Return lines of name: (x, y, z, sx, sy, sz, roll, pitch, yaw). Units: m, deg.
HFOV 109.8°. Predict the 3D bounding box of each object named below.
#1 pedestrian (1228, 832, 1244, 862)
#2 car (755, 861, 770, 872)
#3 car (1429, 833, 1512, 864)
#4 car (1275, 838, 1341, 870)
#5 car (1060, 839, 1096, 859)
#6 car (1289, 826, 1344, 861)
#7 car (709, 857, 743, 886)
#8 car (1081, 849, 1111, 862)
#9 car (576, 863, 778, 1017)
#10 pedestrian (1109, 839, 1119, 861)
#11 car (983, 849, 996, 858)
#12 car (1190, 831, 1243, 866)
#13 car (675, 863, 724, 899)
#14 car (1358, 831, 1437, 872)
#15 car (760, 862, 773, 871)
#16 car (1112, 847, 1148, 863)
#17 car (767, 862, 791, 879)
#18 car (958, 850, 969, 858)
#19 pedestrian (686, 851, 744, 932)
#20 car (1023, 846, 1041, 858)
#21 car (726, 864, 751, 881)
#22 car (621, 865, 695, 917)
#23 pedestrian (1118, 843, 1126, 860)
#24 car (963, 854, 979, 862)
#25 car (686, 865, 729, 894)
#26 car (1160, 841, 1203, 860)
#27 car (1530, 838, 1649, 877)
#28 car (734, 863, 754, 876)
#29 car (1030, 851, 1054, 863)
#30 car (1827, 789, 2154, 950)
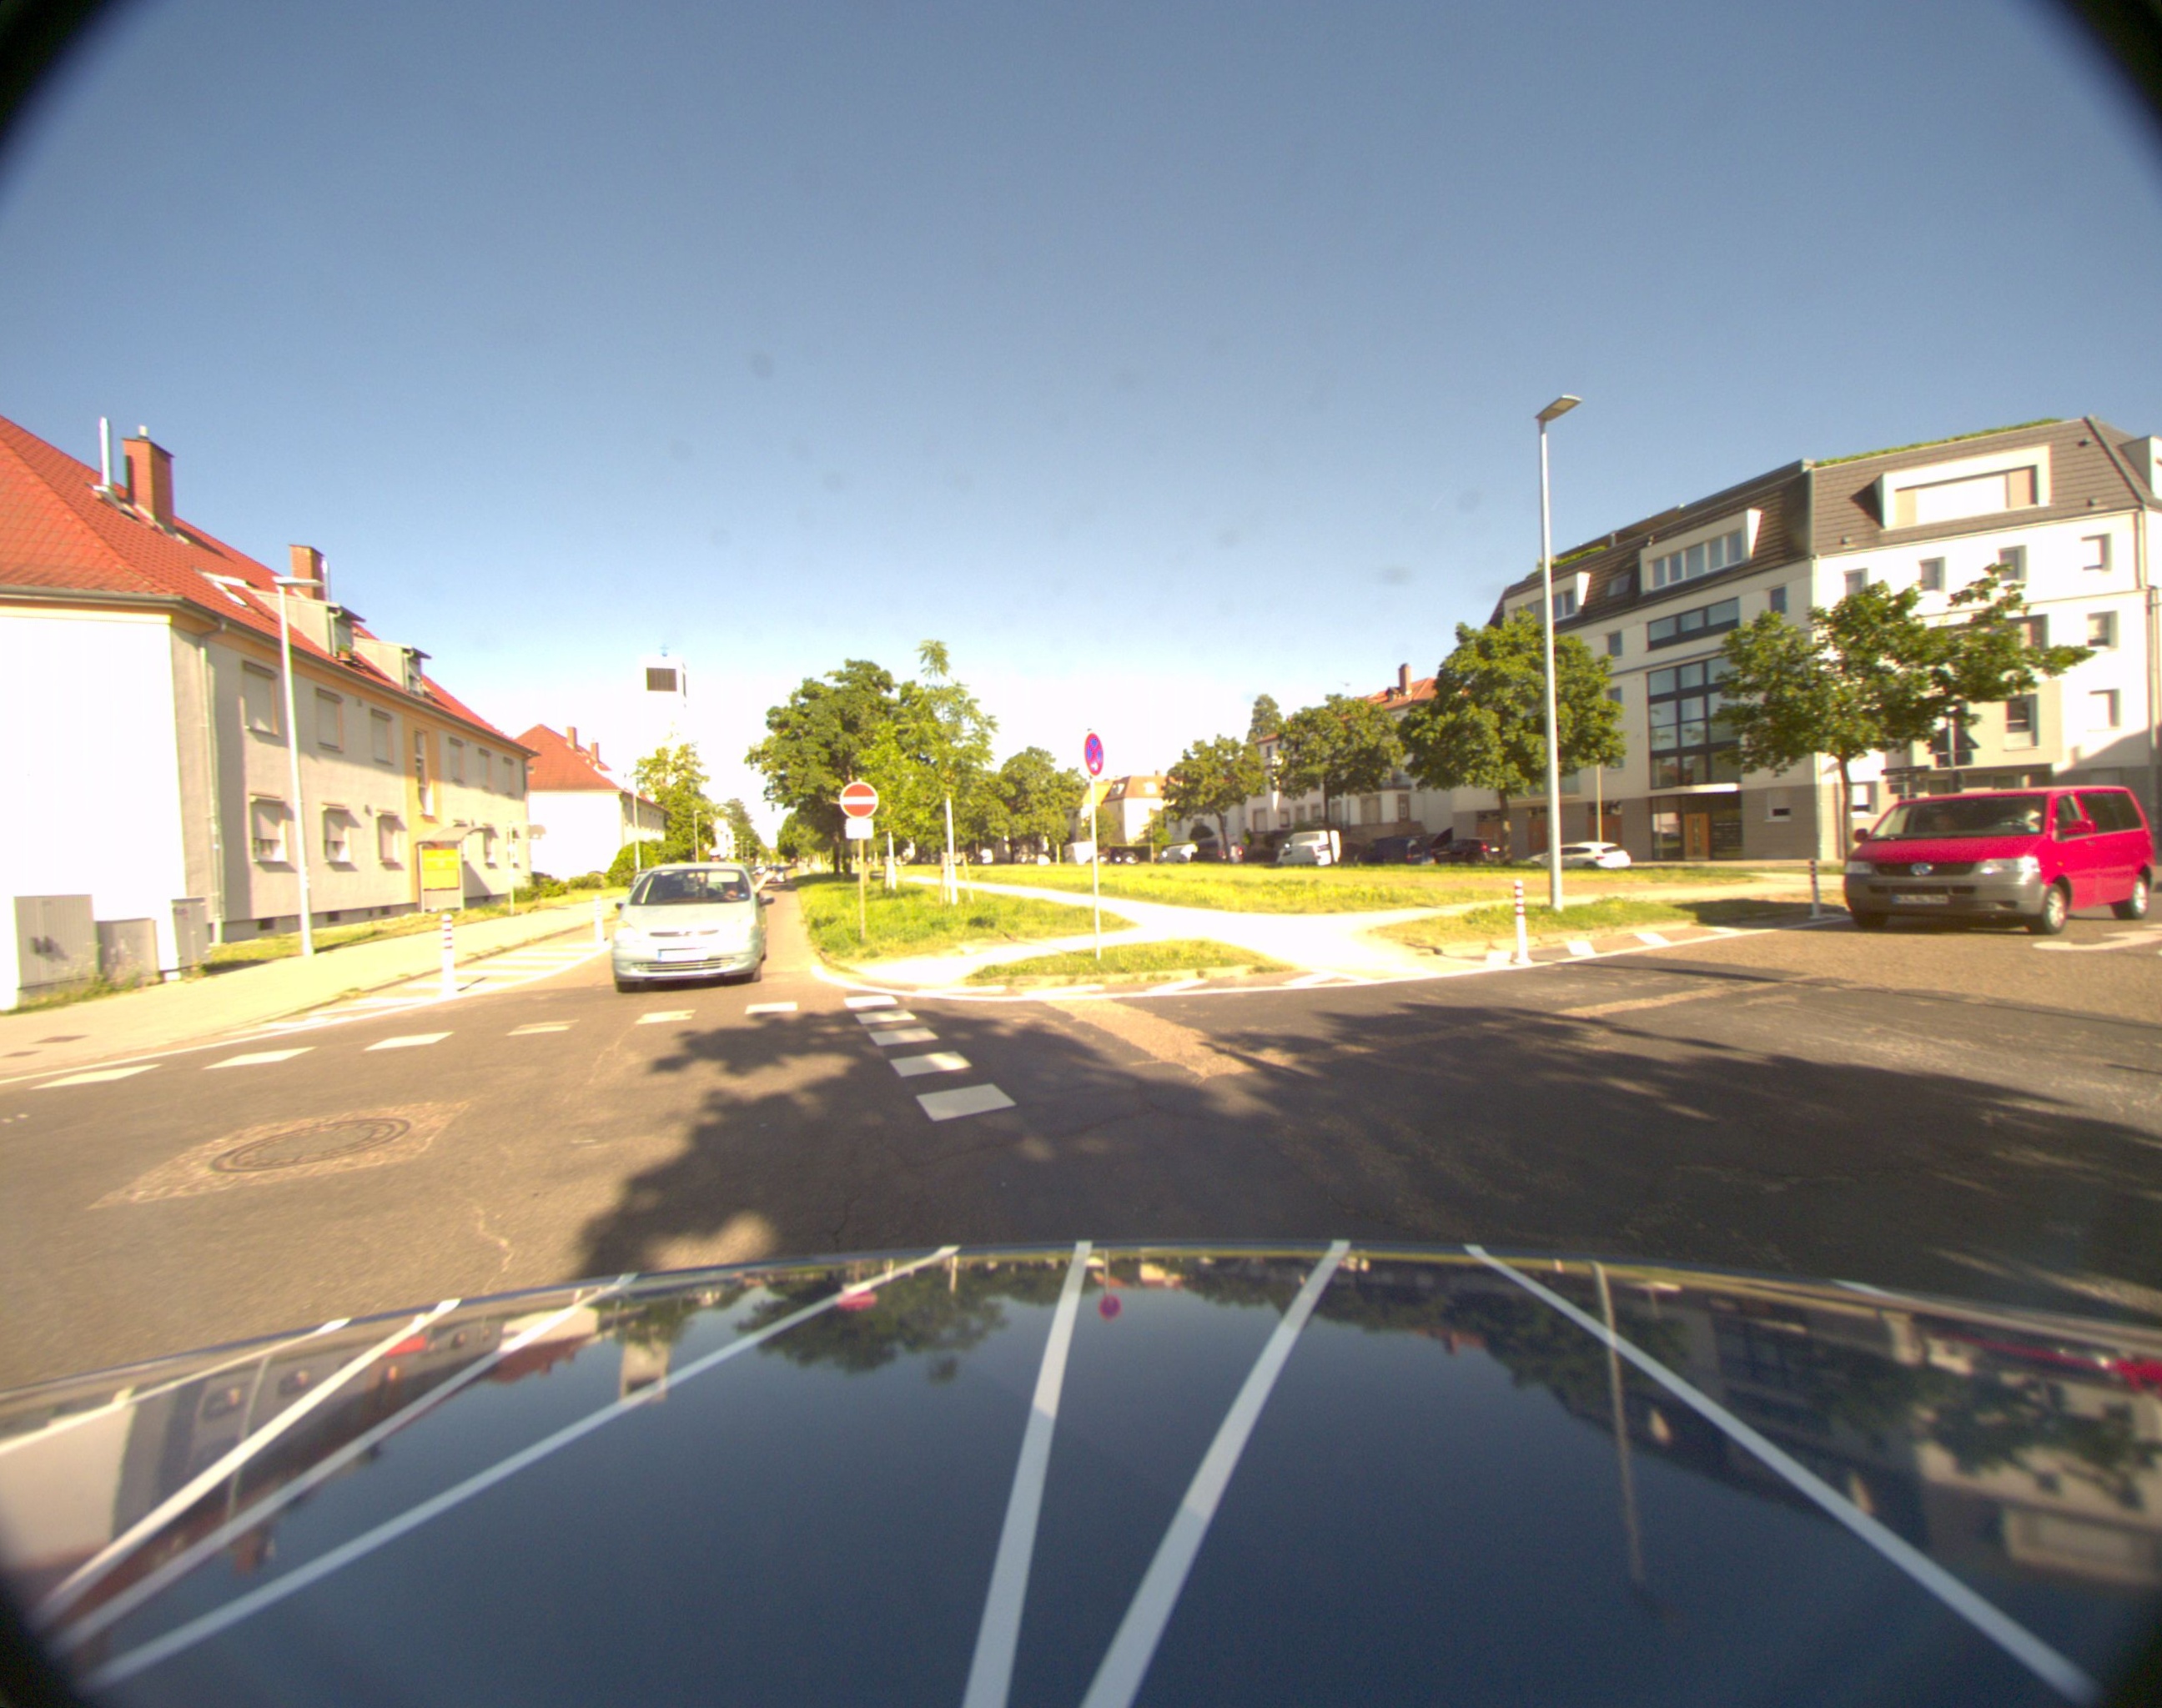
pedestrian: (9.965, -0.449, 48.983, 0.725, 1.866, 0.628, -2, 1, -22)
car: (-43.363, 1.712, 103.553, 1.723, 1.334, 3.802, -2, 1, -20)
car: (23.533, -0.326, 46.101, 1.898, 1.673, 4.281, -4, 1, -20)
car: (15.227, -0.016, 51.236, 1.877, 1.873, 4.416, -7, 2, -20)
car: (-0.443, -0.569, 92.080, 2.553, 2.320, 5.909, -2, 1, -20)
car: (18.453, -0.789, 59.631, 2.025, 2.534, 3.987, -4, 1, -20)
car: (-26.322, 1.239, 56.466, 1.873, 2.002, 4.248, -2, 1, -21)
car: (1.661, 0.191, 85.774, 1.936, 1.337, 4.103, -2, 1, -20)
car: (-5.390, 0.978, 10.721, 1.890, 1.599, 4.240, -2, 1, -20)
pedestrian: (2.931, -0.357, 67.974, 0.645, 1.866, 0.628, -2, 1, -22)
car: (-19.406, -0.092, 160.458, 1.867, 1.834, 3.987, -2, 1, -20)
car: (11.016, -0.444, 62.041, 2.194, 2.570, 4.281, -7, 2, -19)
car: (-19.132, 1.311, 38.254, 1.723, 1.574, 4.133, -2, 1, -20)
car: (18.018, -0.143, 43.458, 1.785, 2.072, 3.987, -7, 2, -20)
car: (-51.550, 2.077, 124.486, 1.723, 1.334, 3.802, -2, 1, -20)
car: (5.051, 0.076, 79.007, 2.087, 1.589, 4.281, -2, 1, -20)
car: (-25.292, 1.364, 63.725, 1.723, 1.334, 3.802, -2, 1, -20)
car: (-28.952, 0.080, 186.716, 1.867, 1.834, 3.987, -2, 1, -20)
pedestrian: (-8.027, 0.794, 16.707, 1.055, 1.699, 0.691, -2, 1, -25)
car: (-8.471, -0.328, 130.876, 1.867, 1.835, 3.987, -2, 1, -20)
car: (-30.133, 1.593, 66.962, 1.723, 1.334, 3.802, -2, 1, -20)
car: (-15.515, 1.300, 28.050, 1.723, 1.654, 4.057, -2, 1, -20)
pedestrian: (3.652, -0.235, 67.925, 0.497, 1.496, 0.534, -2, 1, -21)
car: (-21.593, 0.798, 149.050, 2.083, 1.457, 4.719, -2, 1, -20)
car: (-21.326, 1.410, 43.529, 1.723, 1.433, 4.133, -2, 1, -20)
car: (8.974, -0.270, 68.494, 2.087, 1.589, 4.281, -2, 1, -20)
car: (22.137, 0.153, 33.258, 1.741, 1.425, 3.987, -7, 2, -20)
car: (-36.376, 1.657, 82.156, 1.723, 1.334, 3.802, -2, 1, -20)
car: (-5.460, 0.406, 106.587, 2.083, 1.457, 4.719, -2, 1, -20)
car: (13.331, 0.103, 11.100, 4.892, 1.949, 1.893, -2, 1, -25)
